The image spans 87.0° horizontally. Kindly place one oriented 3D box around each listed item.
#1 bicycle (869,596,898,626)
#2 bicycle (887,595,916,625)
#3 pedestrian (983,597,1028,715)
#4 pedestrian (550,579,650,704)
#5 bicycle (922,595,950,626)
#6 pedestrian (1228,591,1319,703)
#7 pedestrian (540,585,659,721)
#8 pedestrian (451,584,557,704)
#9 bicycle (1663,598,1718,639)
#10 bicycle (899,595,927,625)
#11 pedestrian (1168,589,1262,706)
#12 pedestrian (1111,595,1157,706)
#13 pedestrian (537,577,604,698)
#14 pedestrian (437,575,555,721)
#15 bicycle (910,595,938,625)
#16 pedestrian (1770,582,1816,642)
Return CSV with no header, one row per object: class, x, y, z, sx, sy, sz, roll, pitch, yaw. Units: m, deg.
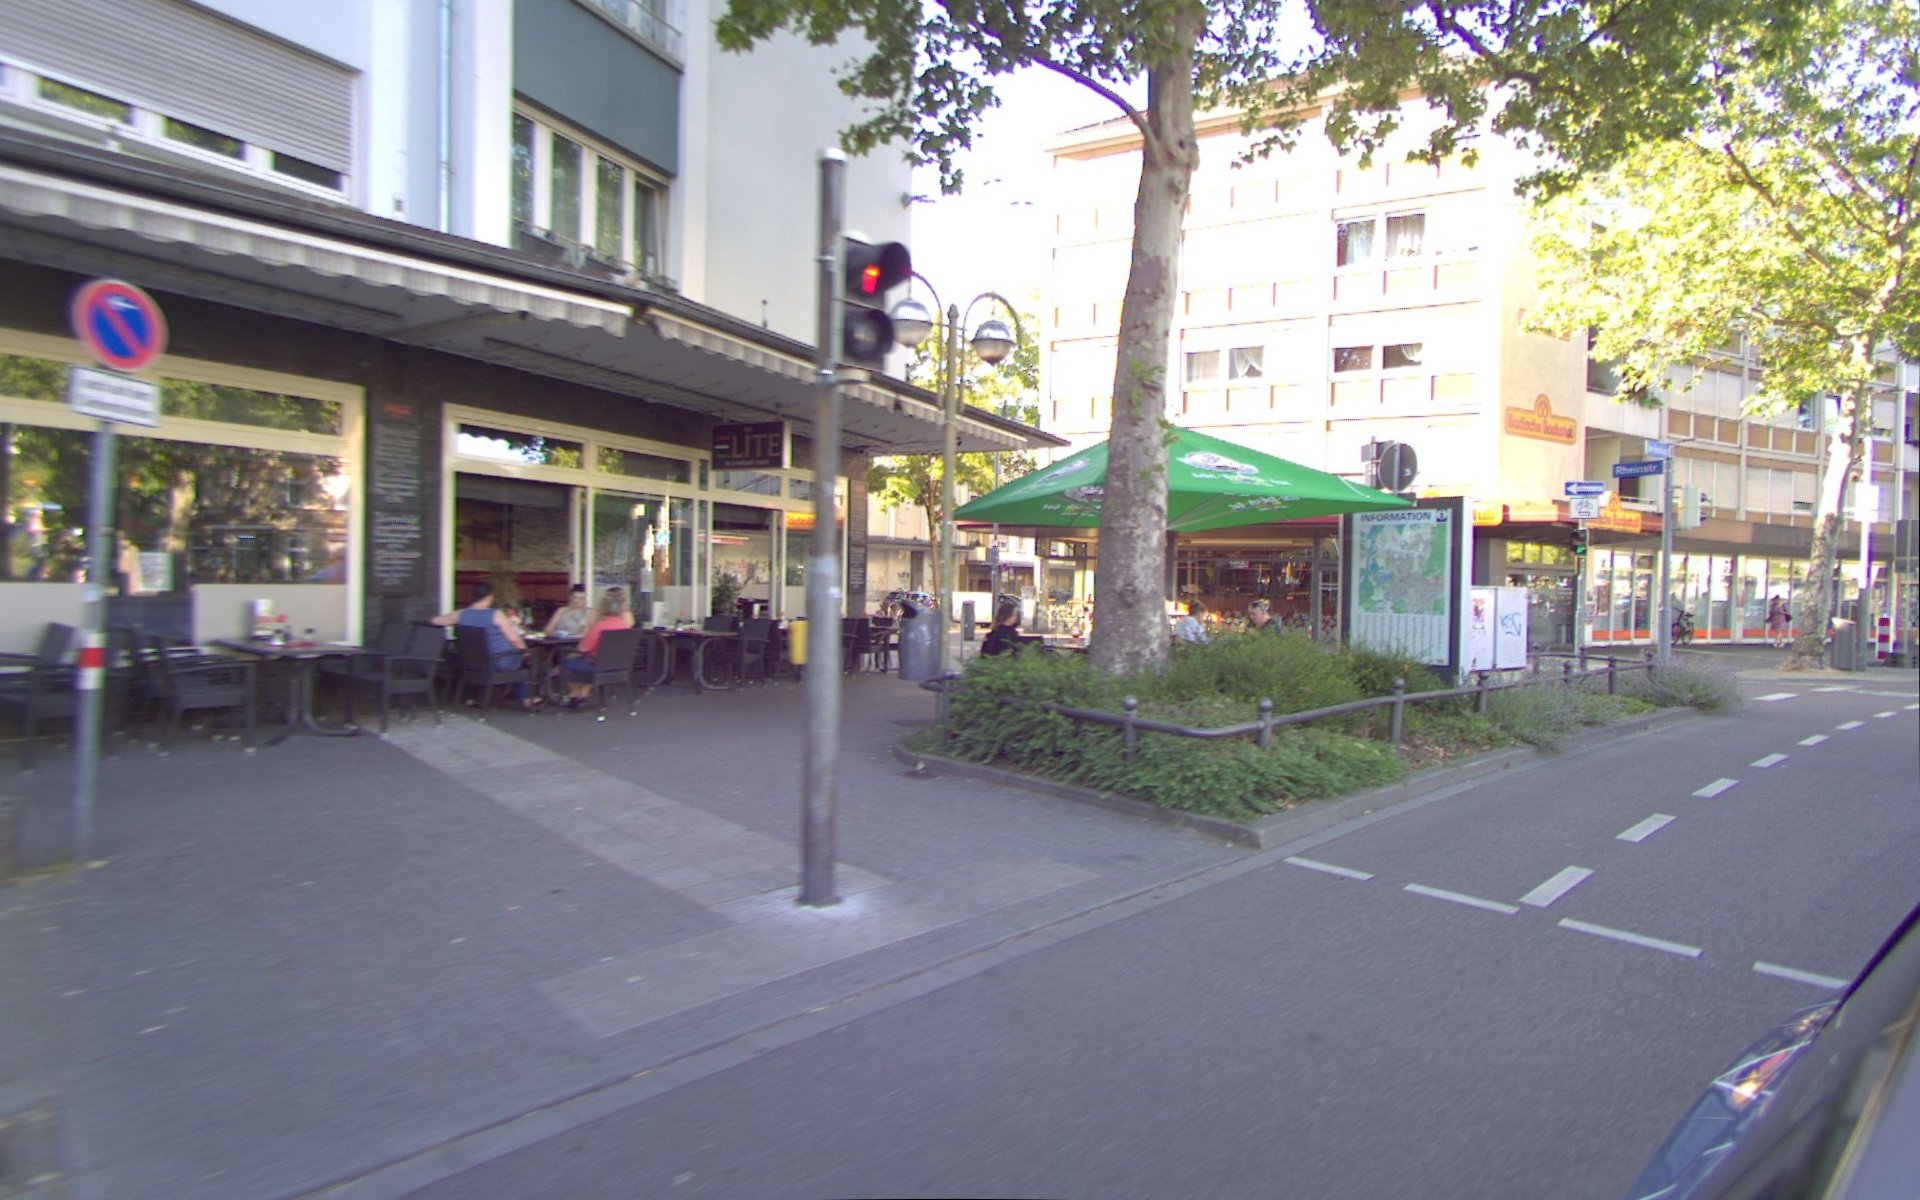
bicycle,-2.713,0.386,35.940,0.384,1.013,1.418,1,1,23
bicycle,-2.050,0.329,35.652,0.384,1.013,1.418,1,1,23
pedestrian,0.486,0.594,10.916,0.459,1.235,0.432,1,0,2
pedestrian,-3.787,0.417,10.656,0.664,1.233,0.707,3,1,41
bicycle,-0.835,0.354,35.110,0.384,1.013,1.418,1,1,23
pedestrian,3.819,0.551,12.334,0.753,1.301,0.720,1,1,-31
pedestrian,-3.478,0.483,9.779,0.837,1.213,0.645,3,1,24
pedestrian,-4.658,0.434,10.352,0.709,1.144,0.645,3,1,22
bicycle,21.847,0.550,30.269,1.934,1.157,0.530,1,1,-29
bicycle,-1.646,0.338,35.462,0.384,1.013,1.418,1,1,23
pedestrian,2.989,0.534,11.891,0.753,1.301,0.720,1,1,-30
pedestrian,2.030,0.575,11.793,0.426,1.234,0.465,3,2,17
pedestrian,-4.225,0.393,10.996,0.541,1.259,0.521,3,1,-10
pedestrian,-4.326,0.424,9.463,0.643,1.267,0.712,3,1,22
bicycle,-1.235,0.342,35.295,0.384,1.013,1.418,1,1,23
pedestrian,25.325,0.346,30.774,0.883,1.779,0.751,1,1,-27
